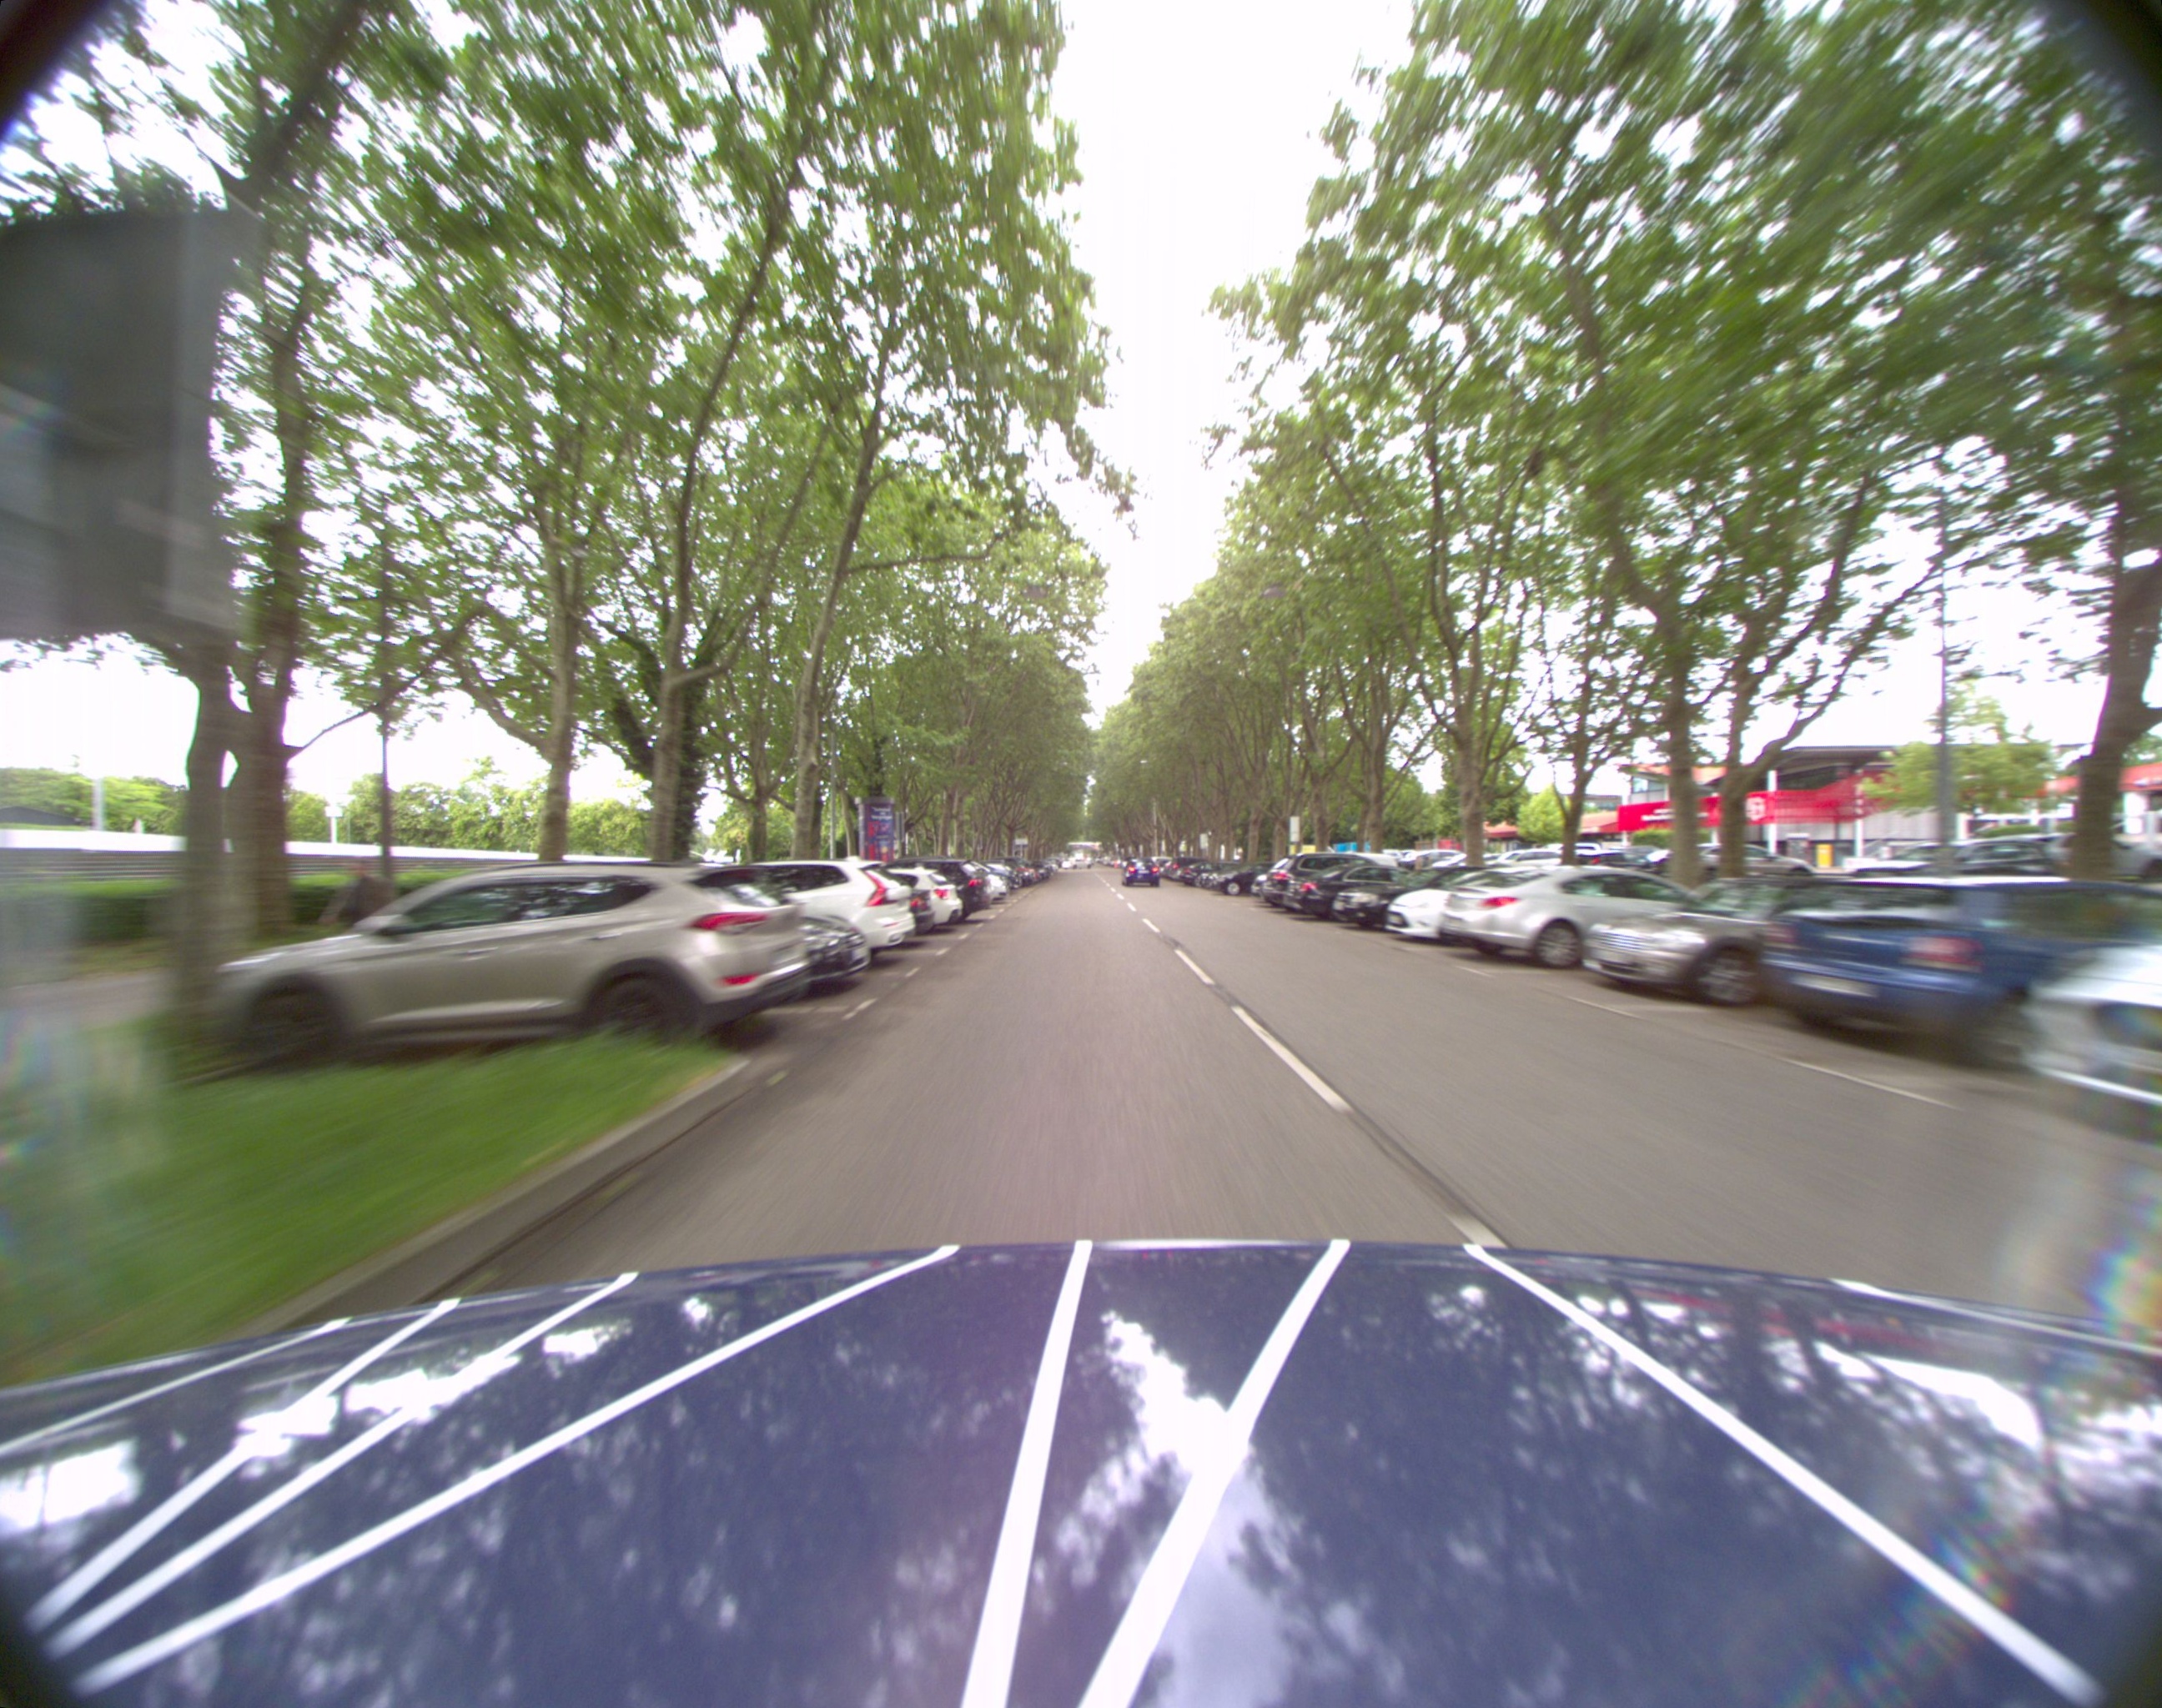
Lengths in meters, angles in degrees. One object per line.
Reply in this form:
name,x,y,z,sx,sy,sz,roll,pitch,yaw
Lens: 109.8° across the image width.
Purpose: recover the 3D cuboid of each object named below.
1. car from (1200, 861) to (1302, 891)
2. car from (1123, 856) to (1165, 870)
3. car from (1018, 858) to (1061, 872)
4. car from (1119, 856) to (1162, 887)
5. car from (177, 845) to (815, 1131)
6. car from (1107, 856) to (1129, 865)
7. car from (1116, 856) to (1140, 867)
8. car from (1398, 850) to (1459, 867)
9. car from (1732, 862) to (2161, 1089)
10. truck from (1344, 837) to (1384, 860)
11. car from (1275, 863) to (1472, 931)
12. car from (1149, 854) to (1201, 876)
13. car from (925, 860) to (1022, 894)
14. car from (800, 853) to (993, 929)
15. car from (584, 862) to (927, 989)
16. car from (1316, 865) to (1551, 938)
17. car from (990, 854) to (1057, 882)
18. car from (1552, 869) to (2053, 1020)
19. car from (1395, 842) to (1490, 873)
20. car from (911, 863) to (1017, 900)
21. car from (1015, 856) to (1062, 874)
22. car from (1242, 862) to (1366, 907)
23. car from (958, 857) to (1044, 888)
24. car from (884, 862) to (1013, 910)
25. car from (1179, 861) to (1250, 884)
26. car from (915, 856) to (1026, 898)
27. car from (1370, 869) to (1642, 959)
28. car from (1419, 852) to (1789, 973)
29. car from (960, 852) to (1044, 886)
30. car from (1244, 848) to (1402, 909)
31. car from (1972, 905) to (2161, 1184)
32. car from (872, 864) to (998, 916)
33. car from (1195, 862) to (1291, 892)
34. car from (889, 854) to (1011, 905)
car,8.027,1.044,36.250,4.474,1.340,1.902,1,0,2
car,6.944,0.979,83.788,4.419,1.416,1.776,1,0,-1
car,-4.572,1.198,84.350,4.598,1.409,1.719,-2,0,3
car,3.112,0.879,40.387,1.847,1.501,4.014,-1,1,-1
car,-4.737,1.014,6.688,3.997,2.002,2.000,-2,0,1
car,6.748,1.251,138.717,4.039,1.518,1.800,1,-1,2
car,7.025,1.114,113.846,3.565,1.569,1.847,1,0,2
car,34.098,0.402,74.636,4.954,1.512,2.183,-1,1,-1
car,8.220,0.880,6.337,4.004,1.485,1.832,-1,1,0
truck,34.965,-0.684,94.079,3.997,2.701,2.376,-1,1,-1
car,7.171,1.030,19.005,4.138,1.443,2.014,2,0,2
car,7.622,0.902,61.713,3.997,1.672,1.855,-1,1,1
car,-5.145,1.099,36.856,4.357,1.405,1.926,-2,0,1
car,-4.488,0.878,19.016,4.358,1.750,1.925,-1,0,-1
car,-4.765,1.017,11.616,4.357,1.624,1.926,-2,0,1
car,7.563,0.993,16.580,4.200,1.346,1.967,-2,1,-2
car,-3.995,0.966,53.615,4.507,1.786,2.047,-2,0,0
car,7.991,0.948,8.735,3.997,1.397,1.862,-1,1,0
car,22.736,0.216,47.917,4.955,1.786,2.182,-2,1,-2
car,-4.810,1.119,31.613,4.050,1.372,1.744,-2,0,1
car,-4.244,1.097,76.813,4.535,1.613,2.054,-2,0,1
car,7.781,1.062,26.660,3.795,1.463,1.763,1,0,-11
car,-4.347,1.000,41.783,4.356,1.493,1.926,-2,0,3
car,-4.574,1.103,26.710,4.159,1.449,1.727,-2,0,1
car,8.120,1.116,46.383,3.941,1.356,1.827,1,0,-1
car,-4.897,1.017,34.183,4.602,1.629,1.873,-2,0,2
car,7.725,1.053,14.102,3.997,1.396,1.885,-1,1,-1
car,7.682,0.815,11.476,4.275,1.539,1.908,2,1,-2
car,-4.580,0.843,44.448,4.505,1.786,2.048,-2,0,4
car,7.543,0.753,23.959,4.330,1.799,1.867,1,0,-4
car,7.664,0.999,3.807,4.003,1.377,1.912,-1,1,4
car,-4.522,1.110,23.988,3.649,1.418,1.665,-2,0,-3
car,8.220,1.152,38.804,4.475,1.358,1.859,1,0,-1
car,-4.978,0.945,29.265,4.358,1.735,1.837,-2,0,-2
